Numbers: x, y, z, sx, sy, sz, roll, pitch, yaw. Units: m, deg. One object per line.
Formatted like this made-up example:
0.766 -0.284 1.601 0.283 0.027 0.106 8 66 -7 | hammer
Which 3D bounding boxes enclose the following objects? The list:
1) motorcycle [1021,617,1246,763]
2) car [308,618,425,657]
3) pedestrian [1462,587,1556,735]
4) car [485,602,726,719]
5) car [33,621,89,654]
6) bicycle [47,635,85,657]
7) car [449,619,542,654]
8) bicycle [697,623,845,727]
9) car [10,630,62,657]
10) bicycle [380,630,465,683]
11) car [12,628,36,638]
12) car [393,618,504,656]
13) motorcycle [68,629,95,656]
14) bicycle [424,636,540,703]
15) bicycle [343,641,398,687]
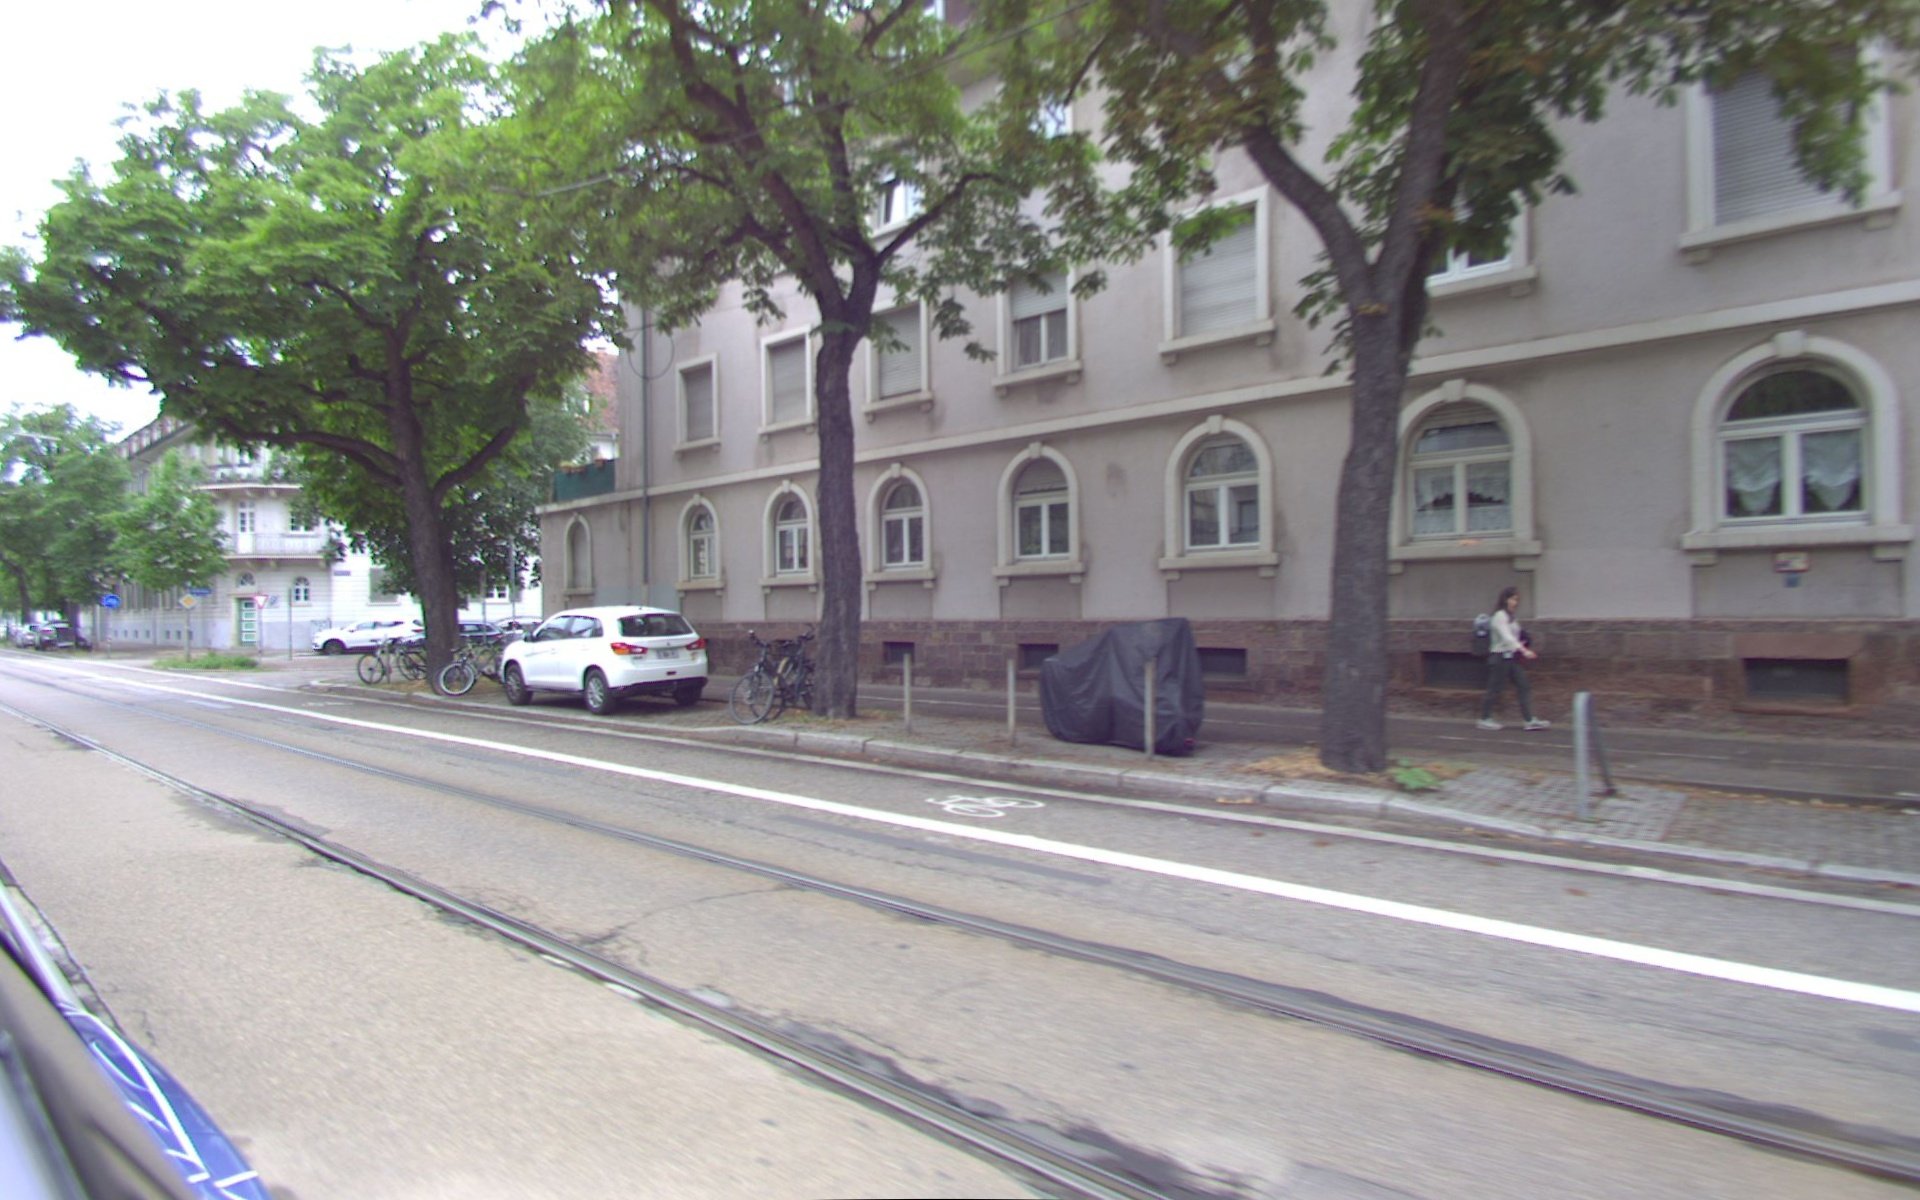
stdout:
1.704 0.840 10.384 0.852 1.298 2.327 -1 0 -35 | motorcycle
-27.317 1.704 46.739 4.438 1.675 1.945 -1 -1 -24 | car
5.729 0.618 10.567 0.722 1.478 0.558 -2 -1 42 | pedestrian
-5.921 0.918 16.675 4.222 1.668 1.878 -2 -1 41 | car
-49.234 2.040 55.379 4.292 1.673 1.818 -2 1 43 | car
-46.272 2.375 52.379 1.360 1.012 0.930 -4 2 -45 | bicycle
-22.266 1.715 48.663 3.978 1.524 1.744 -1 0 -22 | car
-2.470 0.973 13.314 1.720 1.201 0.654 -2 -5 -34 | bicycle
-55.546 2.587 60.829 4.611 1.477 1.793 -2 0 41 | car
-12.144 1.276 22.861 1.925 1.144 0.671 -3 -2 25 | bicycle
-149.187 5.224 161.397 1.731 1.511 4.013 1 -2 -27 | car
-21.692 1.552 43.087 4.000 1.421 1.667 -1 0 -20 | car
-43.848 2.115 50.502 2.137 1.267 0.535 -1 -1 35 | motorcycle
-9.171 1.307 19.461 0.623 1.129 1.902 -2 1 41 | bicycle
-12.965 1.393 22.248 1.394 0.965 0.479 -1 -1 34 | bicycle
